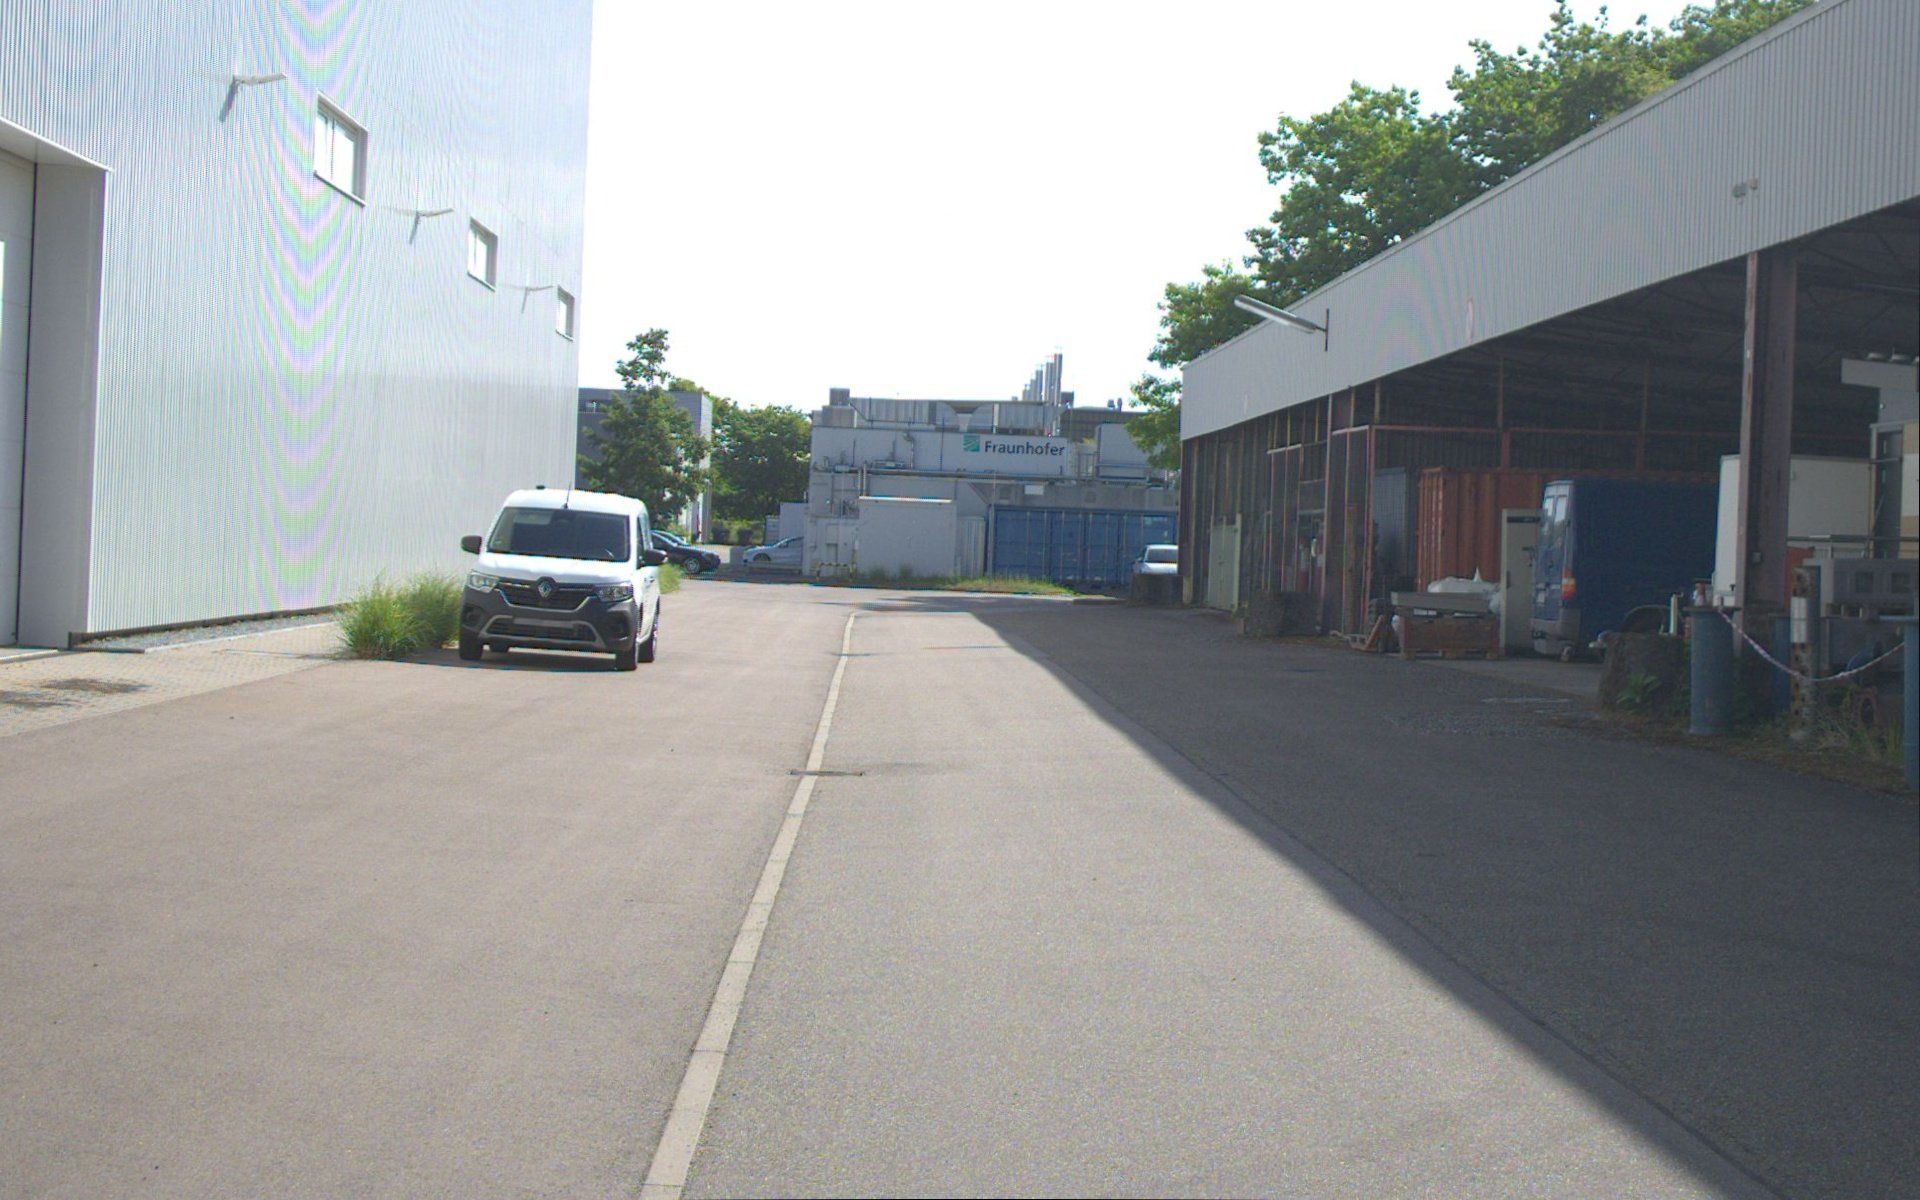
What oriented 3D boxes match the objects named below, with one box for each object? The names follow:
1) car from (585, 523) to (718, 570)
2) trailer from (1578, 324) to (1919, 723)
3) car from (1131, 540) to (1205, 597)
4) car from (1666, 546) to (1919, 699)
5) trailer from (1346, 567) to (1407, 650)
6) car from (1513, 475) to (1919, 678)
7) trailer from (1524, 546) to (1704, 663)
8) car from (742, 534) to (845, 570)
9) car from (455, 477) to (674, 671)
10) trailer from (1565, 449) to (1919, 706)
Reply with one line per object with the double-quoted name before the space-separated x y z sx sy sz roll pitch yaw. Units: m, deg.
"car" -10.581 -1.825 118.134 4.447 1.525 1.824 1 0 -2
"trailer" 10.894 -0.617 30.436 10.267 3.331 2.801 1 1 -1
"car" 6.393 -0.993 105.968 1.979 1.597 4.377 1 2 0
"car" 9.655 0.239 35.484 4.247 1.466 1.870 2 1 -4
"trailer" 5.734 0.108 47.383 0.551 1.114 1.547 1 1 -3
"car" 9.601 -0.277 41.716 5.332 2.273 2.153 2 0 -2
"trailer" 8.404 0.042 44.315 2.038 1.461 1.738 1 1 3
"car" -7.053 -2.050 146.094 4.302 1.452 1.824 1 0 -2
"car" -4.099 -0.277 36.283 1.783 1.809 4.602 4 0 -2
"trailer" 8.251 -0.207 32.896 4.516 2.334 2.047 1 0 0
